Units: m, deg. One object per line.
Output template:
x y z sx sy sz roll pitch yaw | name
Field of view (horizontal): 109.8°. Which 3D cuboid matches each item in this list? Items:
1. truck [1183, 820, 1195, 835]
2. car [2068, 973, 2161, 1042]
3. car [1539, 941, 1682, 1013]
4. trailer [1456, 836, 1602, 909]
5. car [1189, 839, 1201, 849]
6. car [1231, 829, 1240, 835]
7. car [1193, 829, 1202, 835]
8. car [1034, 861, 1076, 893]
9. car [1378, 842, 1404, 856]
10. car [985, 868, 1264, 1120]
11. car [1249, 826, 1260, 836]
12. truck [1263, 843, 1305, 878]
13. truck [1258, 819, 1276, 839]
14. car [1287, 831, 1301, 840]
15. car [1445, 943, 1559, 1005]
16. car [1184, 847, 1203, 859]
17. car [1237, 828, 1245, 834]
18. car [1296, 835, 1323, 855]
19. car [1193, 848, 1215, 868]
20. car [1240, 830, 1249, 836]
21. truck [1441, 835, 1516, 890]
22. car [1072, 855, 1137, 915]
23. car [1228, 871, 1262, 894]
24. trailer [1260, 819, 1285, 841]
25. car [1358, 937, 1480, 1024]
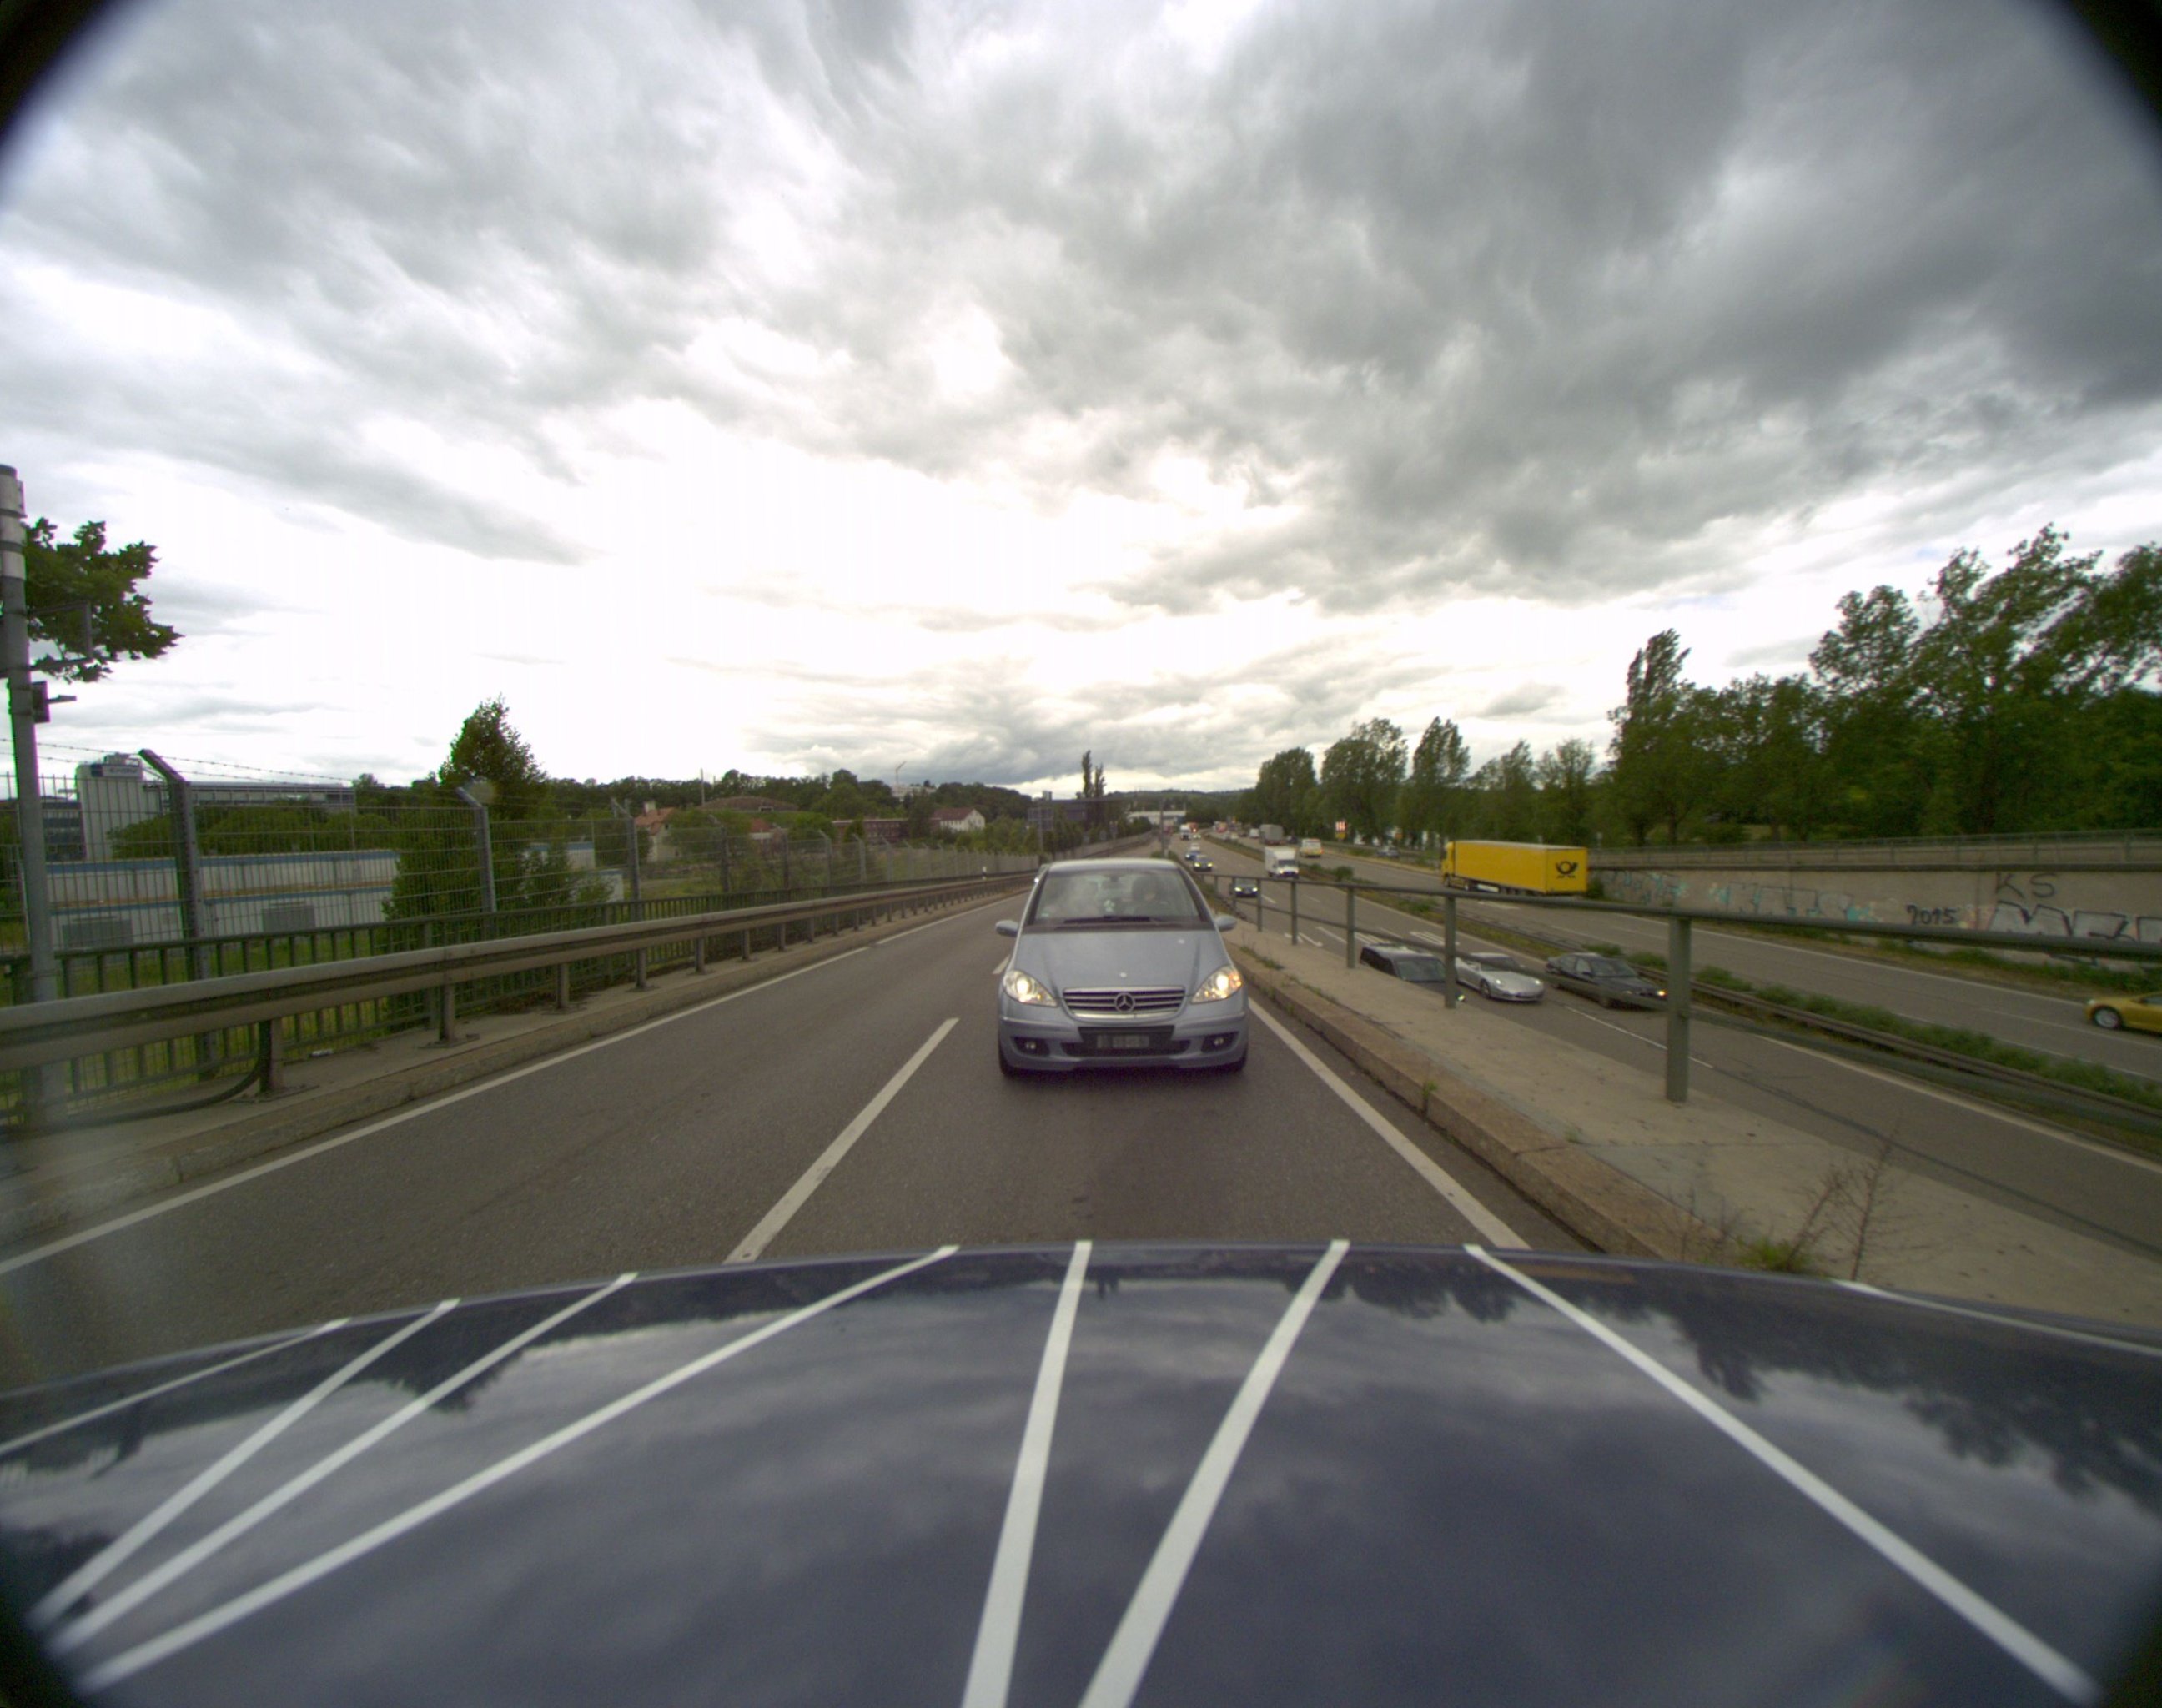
29.238 -7.160 206.766 3.009 4.087 5.873 0 3 6 | truck
29.946 4.321 20.231 1.872 1.449 4.151 -1 3 1 | car
17.745 4.065 25.764 1.863 1.457 4.423 -2 3 2 | car
31.941 1.013 55.312 3.248 4.239 13.675 0 3 3 | trailer
19.193 -1.706 127.895 1.769 1.520 3.335 0 3 3 | car
41.324 -5.897 203.331 1.682 1.412 3.999 0 3 4 | car
34.274 -6.449 223.640 1.854 1.562 4.436 -1 4 2 | car
-1.416 1.260 42.776 1.800 1.643 4.152 -2 -1 5 | car
42.476 -0.721 104.319 1.897 1.643 4.377 -3 2 3 | car
0.305 0.925 6.790 1.743 1.534 3.993 -1 0 1 | car
49.218 -6.590 216.096 1.998 2.635 5.179 2 3 2 | car
19.647 0.560 73.848 2.238 2.993 7.228 -1 3 1 | truck
40.723 -5.570 166.681 2.793 4.117 5.934 -1 3 4 | truck
46.499 -4.118 166.092 1.998 1.890 4.583 2 3 5 | car
14.605 4.136 26.637 1.789 1.294 4.151 0 3 2 | car
15.755 -0.195 106.477 1.998 1.524 3.998 0 3 1 | car
53.750 -7.697 255.074 1.886 1.807 4.560 2 3 2 | car
32.966 -1.297 109.808 1.998 2.614 6.711 1 3 3 | car
13.863 0.438 85.775 1.998 2.003 3.999 1 3 3 | car
50.913 -6.446 236.536 1.886 1.807 4.560 2 3 2 | car
32.368 0.587 62.211 3.248 4.159 5.802 0 3 3 | truck
0.708 0.935 24.230 1.830 1.701 4.001 -2 -1 1 | car
12.768 2.203 59.389 1.828 1.443 4.125 0 3 1 | car
40.183 -5.164 159.823 2.793 4.117 13.760 -1 3 4 | trailer
10.550 3.896 24.153 1.998 1.830 4.423 -1 3 2 | car
